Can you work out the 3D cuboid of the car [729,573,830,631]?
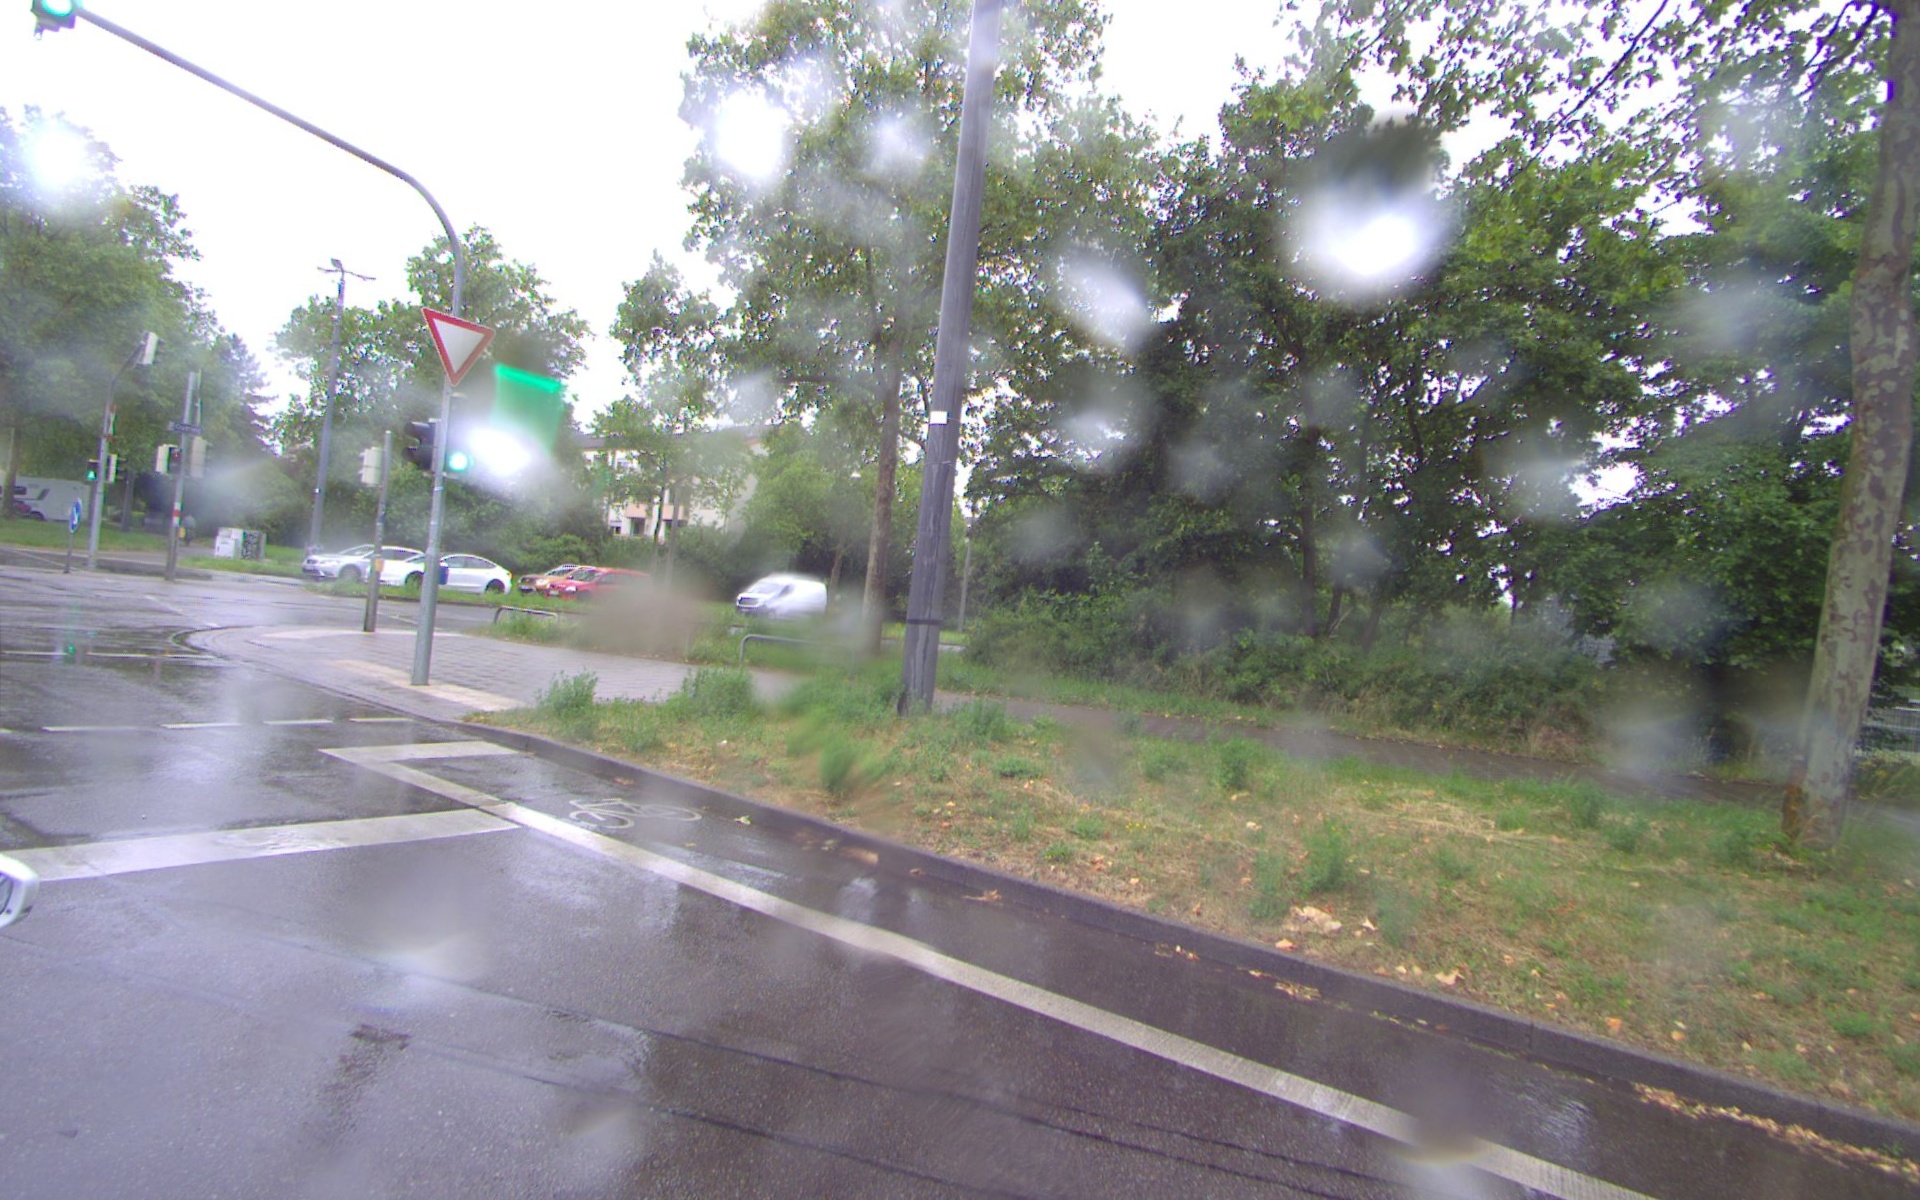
[{"bbox_3d":[-9.560,0.159,53.835,1.966,2.419,5.619,6,-2,29],"label":"car"}]

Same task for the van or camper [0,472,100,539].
[{"bbox_3d":[-56.932,-5.903,60.723,7.296,3.215,3.226,9,-2,-40],"label":"van or camper"}]

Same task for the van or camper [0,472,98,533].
[{"bbox_3d":[-63.204,-6.712,67.629,7.388,3.215,3.231,9,-2,-36],"label":"van or camper"}]

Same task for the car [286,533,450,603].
[{"bbox_3d":[-20.106,-1.055,34.395,1.900,1.710,4.407,7,-2,26],"label":"car"}]

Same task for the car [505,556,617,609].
[{"bbox_3d":[-16.373,-0.687,41.493,1.759,1.625,4.069,7,-2,26],"label":"car"}]

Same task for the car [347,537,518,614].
[{"bbox_3d":[-17.157,-0.740,32.985,1.900,1.849,4.608,7,-2,26],"label":"car"}]

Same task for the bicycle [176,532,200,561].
[{"bbox_3d":[-42.615,-2.946,55.509,0.858,1.441,2.674,8,-2,-39],"label":"bicycle"}]

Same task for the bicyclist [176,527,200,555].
[{"bbox_3d":[-42.803,-3.260,55.781,0.858,1.441,0.946,8,-2,-40],"label":"bicyclist"}]

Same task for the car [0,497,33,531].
[{"bbox_3d":[-55.865,-5.148,57.105,4.424,1.736,1.980,9,-2,-37],"label":"car"}]

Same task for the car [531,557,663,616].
[{"bbox_3d":[-13.842,-0.486,38.631,1.760,1.625,4.615,6,-2,29],"label":"car"}]
